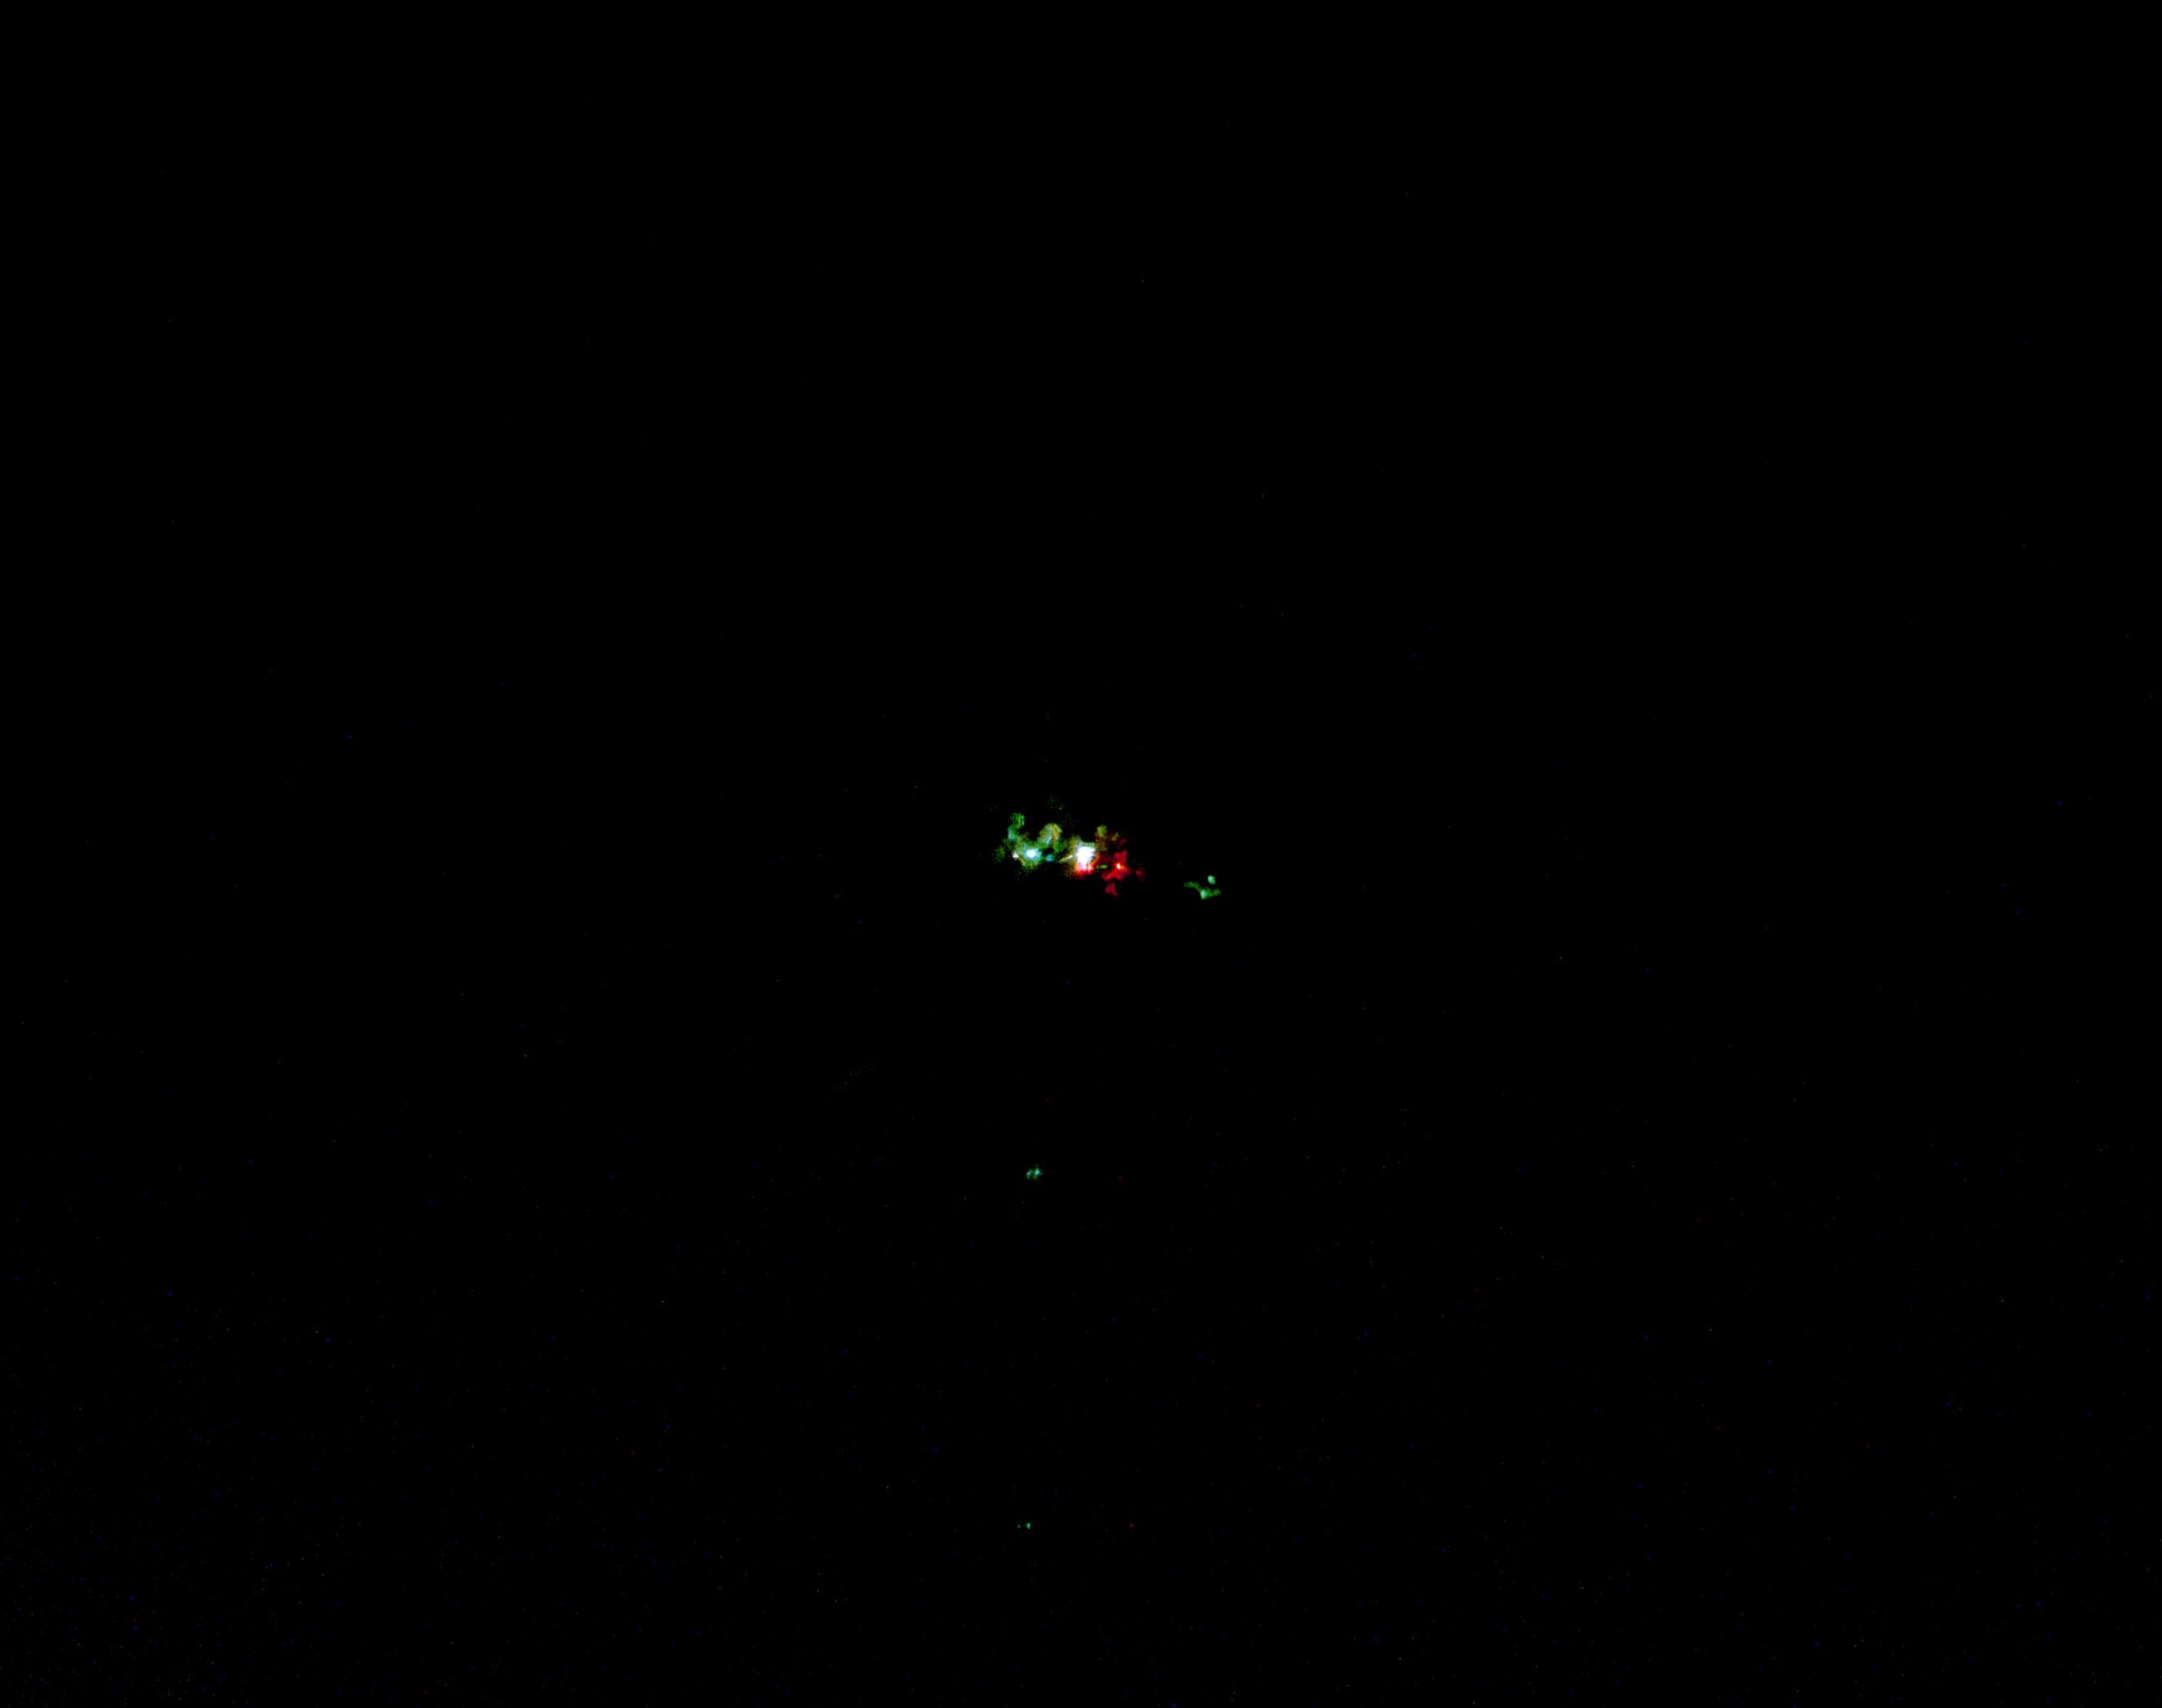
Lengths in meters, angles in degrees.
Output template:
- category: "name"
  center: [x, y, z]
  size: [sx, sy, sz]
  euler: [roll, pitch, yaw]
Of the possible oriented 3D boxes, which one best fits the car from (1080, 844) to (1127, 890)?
- category: "car"
  center: [1.009, 0.552, 38.152]
  size: [1.987, 1.806, 3.917]
  euler: [-3, 2, 0]
